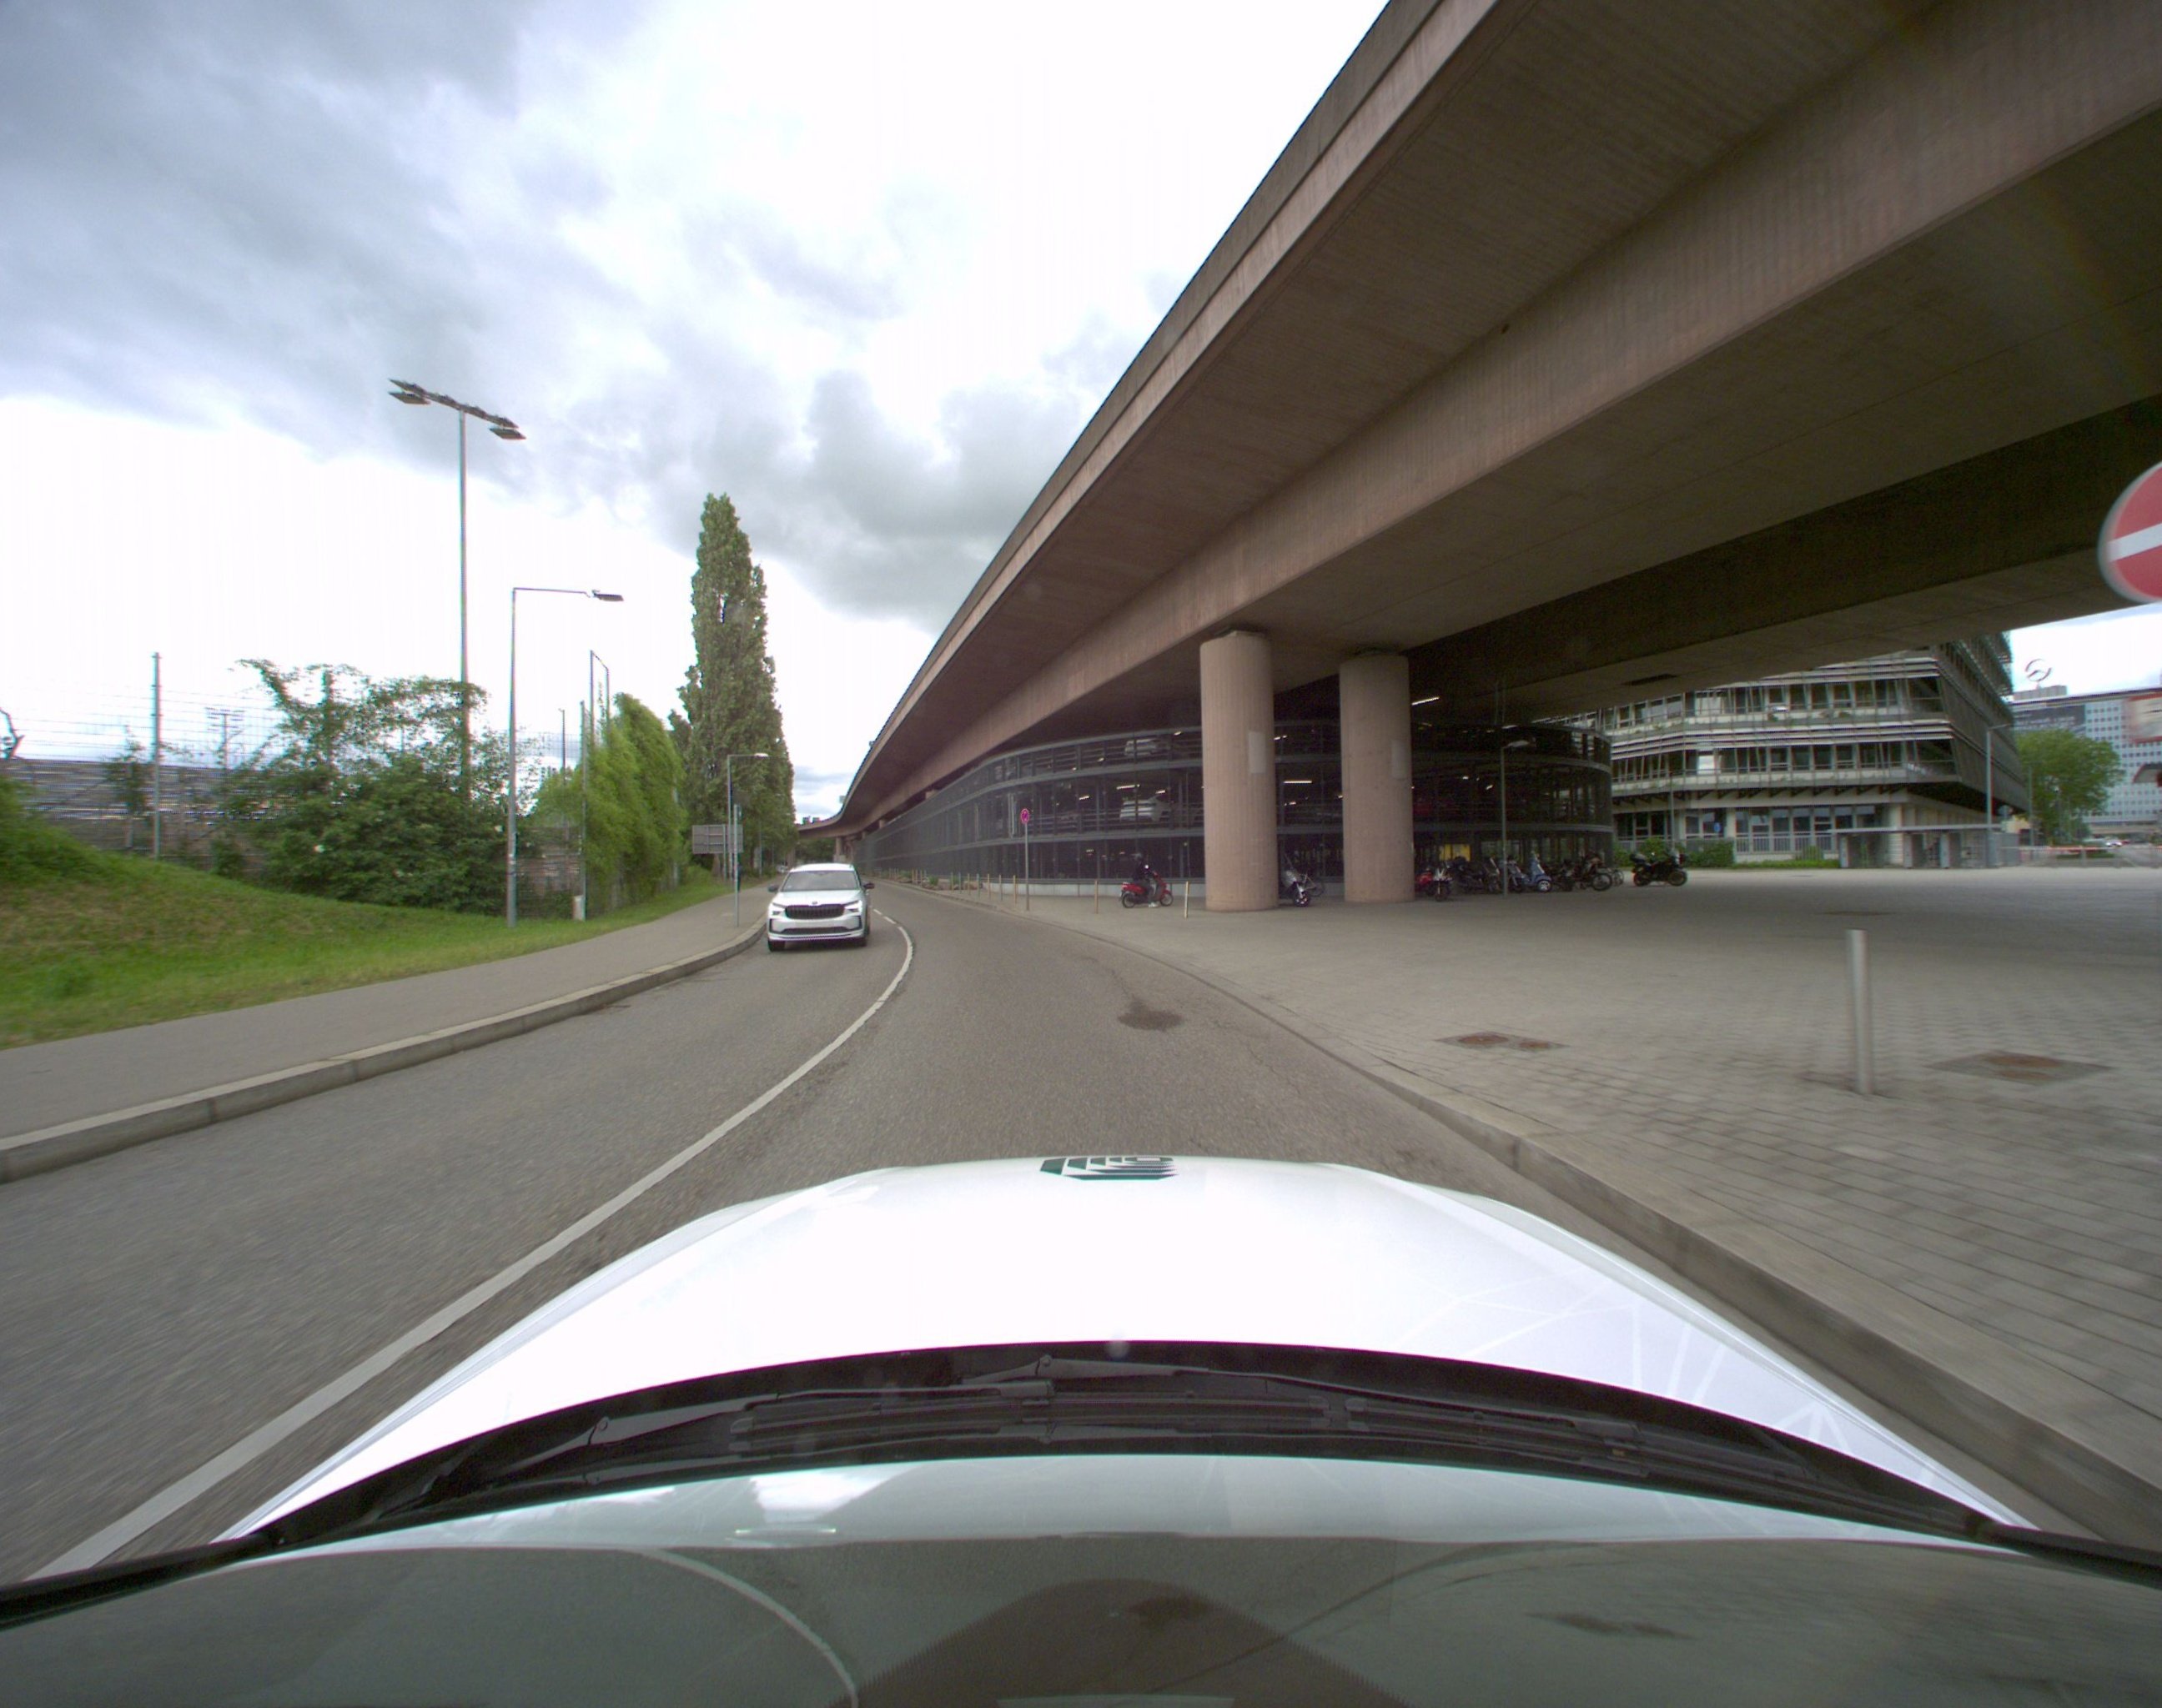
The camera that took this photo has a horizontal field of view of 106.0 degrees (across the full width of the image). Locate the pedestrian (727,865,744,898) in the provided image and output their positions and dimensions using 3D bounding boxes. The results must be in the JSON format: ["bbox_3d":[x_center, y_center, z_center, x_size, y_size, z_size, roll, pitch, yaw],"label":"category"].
[{"bbox_3d":[-19.693,1.565,46.431,0.807,1.781,0.913,-1,0,-22],"label":"pedestrian"}]

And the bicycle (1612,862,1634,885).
[{"bbox_3d":[23.054,0.811,34.646,1.514,0.895,0.469,-2,1,-44],"label":"bicycle"}]

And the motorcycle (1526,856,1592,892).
[{"bbox_3d":[16.954,0.691,28.946,0.674,1.220,2.066,-1,1,-18],"label":"motorcycle"}]

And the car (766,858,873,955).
[{"bbox_3d":[-5.473,0.969,17.290,1.868,1.683,4.381,-1,1,-16],"label":"car"}]

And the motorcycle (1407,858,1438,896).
[{"bbox_3d":[11.385,0.764,27.171,0.519,1.220,1.150,-1,0,-1],"label":"motorcycle"}]

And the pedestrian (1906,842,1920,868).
[{"bbox_3d":[47.734,0.046,46.741,0.490,1.481,0.548,-1,0,40],"label":"pedestrian"}]

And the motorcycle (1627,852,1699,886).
[{"bbox_3d":[22.981,0.582,32.217,0.674,1.275,2.349,-1,1,-18],"label":"motorcycle"}]

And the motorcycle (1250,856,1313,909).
[{"bbox_3d":[5.720,0.786,23.364,0.646,1.455,1.744,-2,1,-35],"label":"motorcycle"}]

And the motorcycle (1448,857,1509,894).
[{"bbox_3d":[13.767,0.725,28.274,0.674,1.220,2.066,-1,1,-18],"label":"motorcycle"}]

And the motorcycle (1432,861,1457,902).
[{"bbox_3d":[10.537,0.796,23.624,0.516,1.171,1.155,-1,-2,18],"label":"motorcycle"}]

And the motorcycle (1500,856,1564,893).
[{"bbox_3d":[15.811,0.698,28.620,0.674,1.220,2.066,-1,1,-18],"label":"motorcycle"}]

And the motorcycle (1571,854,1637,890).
[{"bbox_3d":[18.998,0.628,29.628,0.674,1.220,2.066,-1,1,-18],"label":"motorcycle"}]

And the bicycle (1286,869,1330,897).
[{"bbox_3d":[8.121,1.032,29.163,1.464,0.976,0.452,-1,0,7],"label":"bicycle"}]

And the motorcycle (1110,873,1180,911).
[{"bbox_3d":[1.928,1.130,24.630,1.957,1.022,0.743,-2,0,-21],"label":"motorcycle"}]

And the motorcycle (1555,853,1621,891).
[{"bbox_3d":[18.208,0.632,29.282,0.674,1.286,2.066,-1,1,-18],"label":"motorcycle"}]

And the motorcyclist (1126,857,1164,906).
[{"bbox_3d":[1.927,0.816,24.639,0.870,1.419,0.759,-1,0,-20],"label":"motorcyclist"}]

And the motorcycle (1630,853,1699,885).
[{"bbox_3d":[23.789,0.588,33.264,0.674,1.220,2.349,-1,1,-18],"label":"motorcycle"}]

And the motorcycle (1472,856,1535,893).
[{"bbox_3d":[14.740,0.700,28.443,0.674,1.220,2.066,-1,1,-18],"label":"motorcycle"}]

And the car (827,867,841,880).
[{"bbox_3d":[-36.352,2.884,119.652,1.845,1.711,3.682,-2,1,-18],"label":"car"}]

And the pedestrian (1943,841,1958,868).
[{"bbox_3d":[48.277,0.033,45.208,0.490,1.481,0.548,-1,0,40],"label":"pedestrian"}]

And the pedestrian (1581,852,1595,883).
[{"bbox_3d":[33.539,0.912,53.893,0.527,2.014,0.572,0,-1,-9],"label":"pedestrian"}]

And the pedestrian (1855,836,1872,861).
[{"bbox_3d":[47.168,-0.348,49.098,0.542,1.481,0.496,-1,0,-3],"label":"pedestrian"}]
